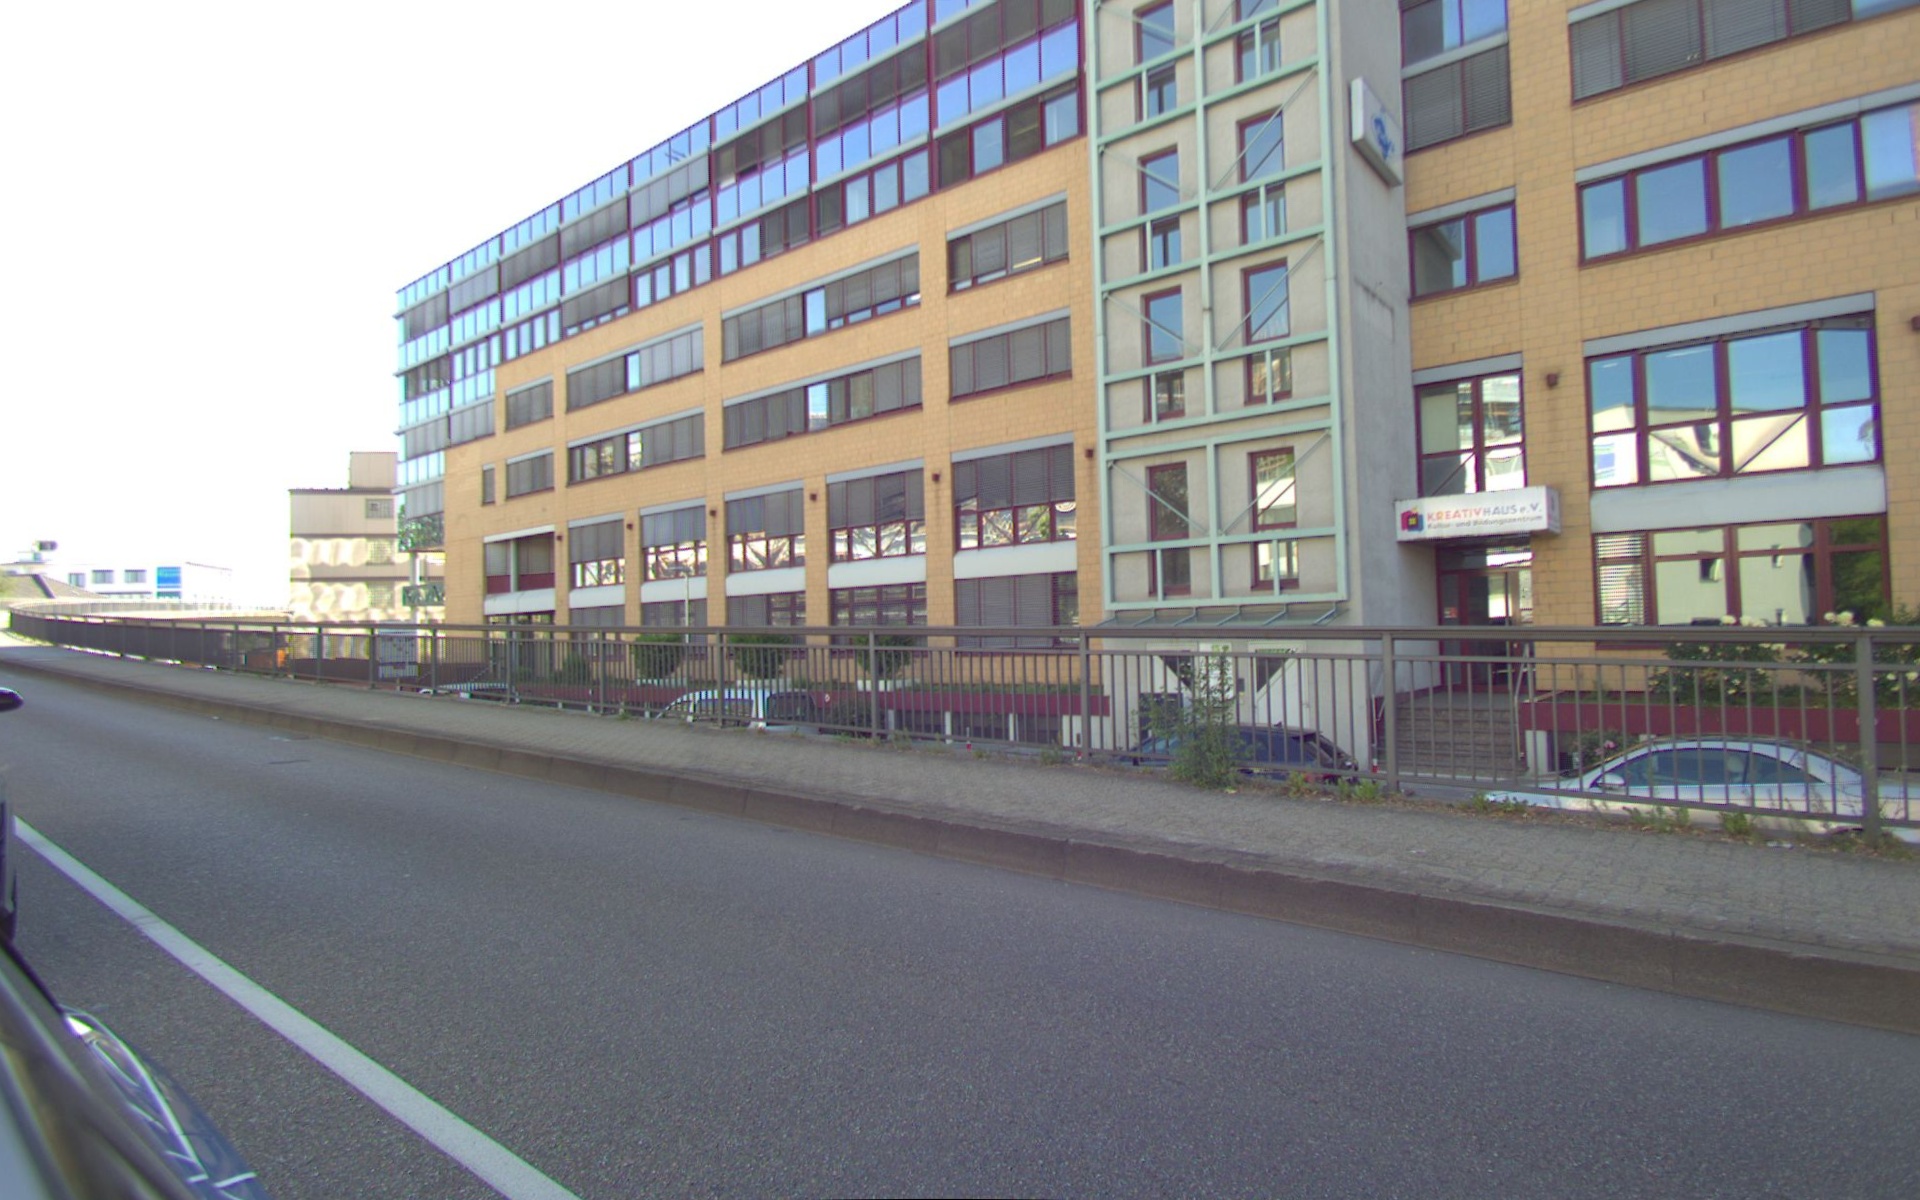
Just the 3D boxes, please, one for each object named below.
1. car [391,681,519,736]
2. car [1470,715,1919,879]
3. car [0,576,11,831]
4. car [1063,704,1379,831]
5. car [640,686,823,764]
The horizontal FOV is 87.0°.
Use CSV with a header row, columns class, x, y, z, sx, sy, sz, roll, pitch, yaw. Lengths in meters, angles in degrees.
class,x,y,z,sx,sy,sz,roll,pitch,yaw
car,-13.821,2.914,27.627,3.805,1.279,1.744,-3,-4,39
car,7.685,1.873,10.209,4.254,1.175,1.704,-3,-4,40
car,-5.844,0.777,4.660,3.998,1.660,1.726,-3,-4,41
car,3.403,2.127,13.567,3.805,1.279,1.560,-3,-4,40
car,-4.595,2.412,20.129,3.805,1.279,1.560,-3,-4,40
